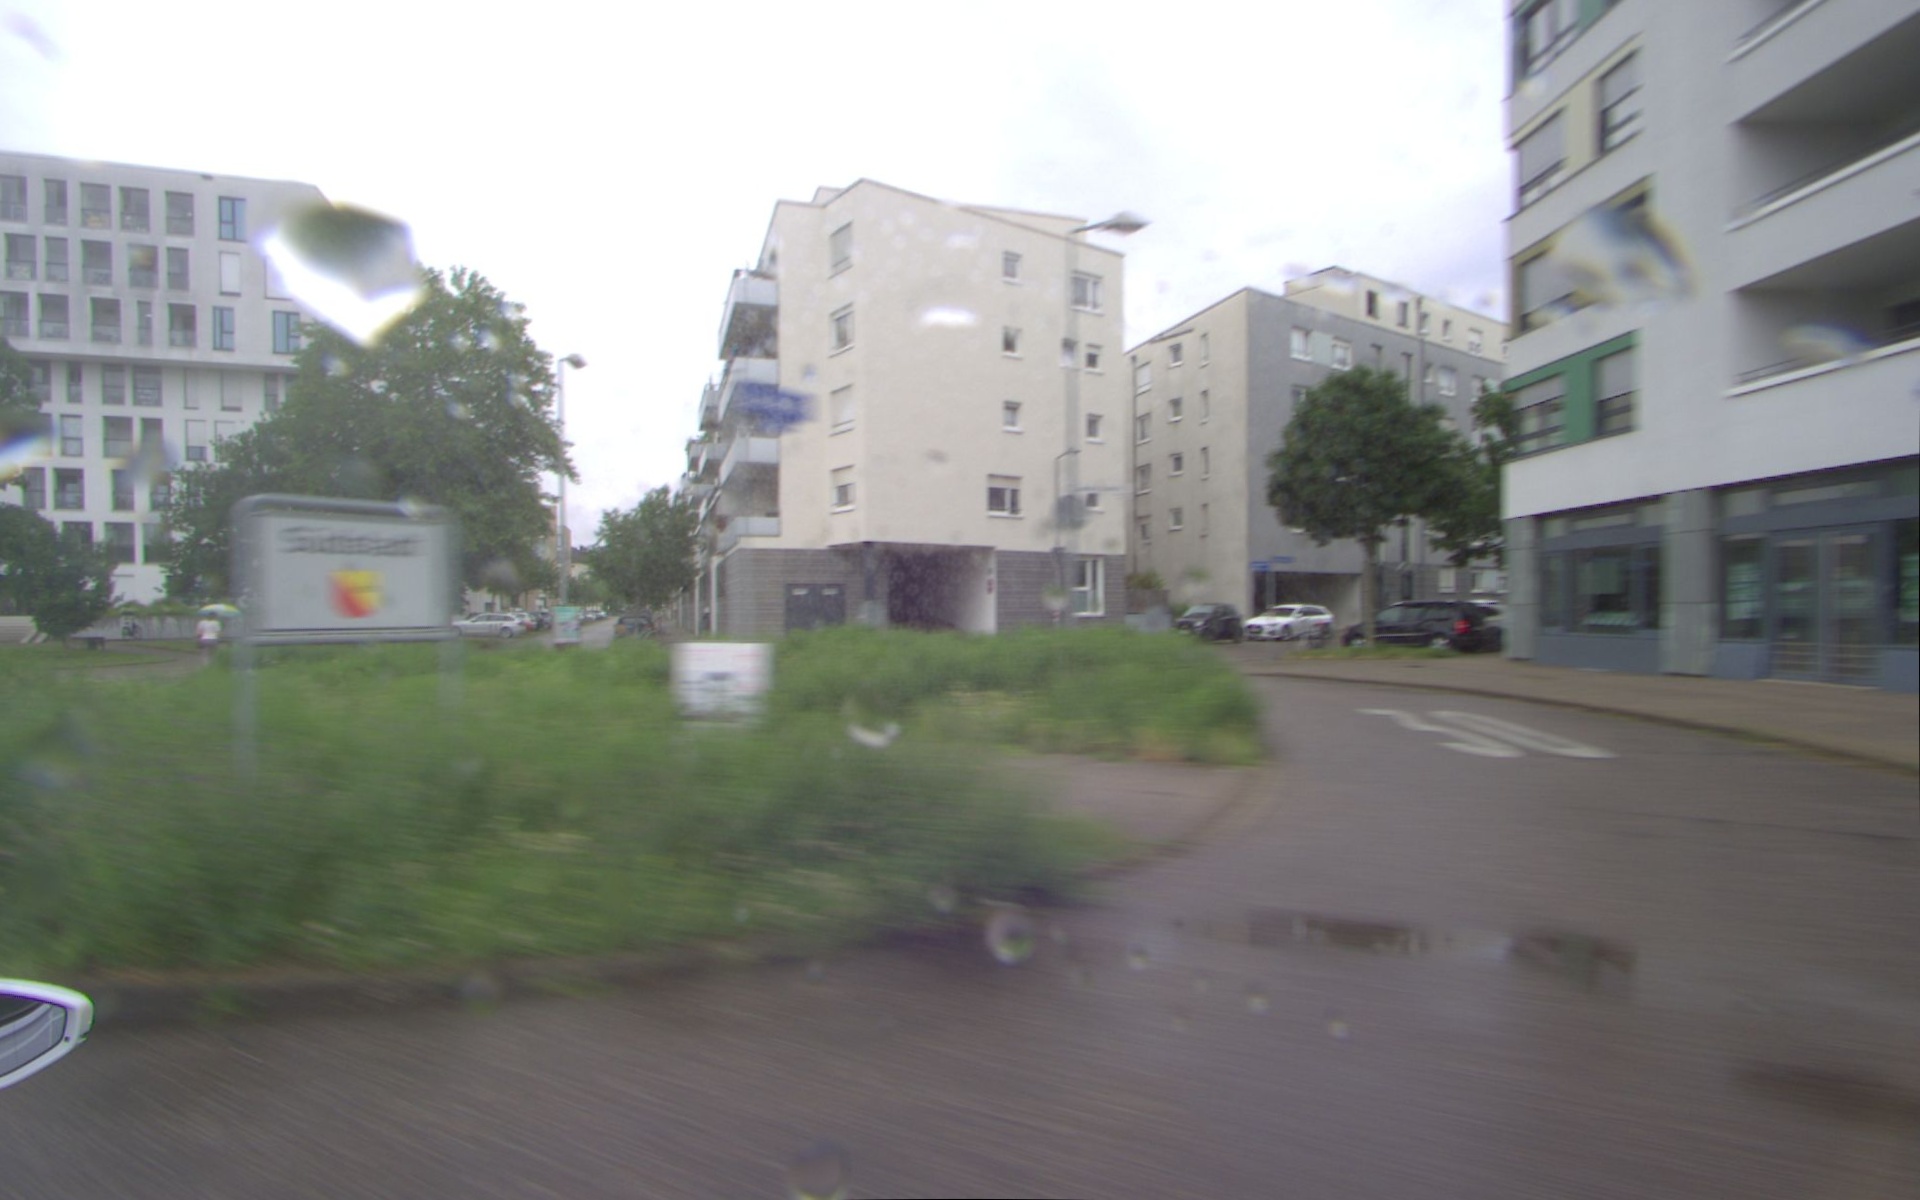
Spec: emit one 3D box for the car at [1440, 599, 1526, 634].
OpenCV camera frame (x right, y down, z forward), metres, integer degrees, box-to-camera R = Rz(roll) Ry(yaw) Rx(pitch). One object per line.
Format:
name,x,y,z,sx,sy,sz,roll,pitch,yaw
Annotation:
car,26.972,0.838,51.620,4.361,1.707,1.988,0,0,-32

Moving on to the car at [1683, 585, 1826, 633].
car,31.001,0.367,39.179,1.791,1.777,4.075,0,0,-35

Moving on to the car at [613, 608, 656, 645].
car,-14.459,1.134,44.397,1.705,1.568,4.111,0,0,-19

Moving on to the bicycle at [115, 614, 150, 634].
bicycle,-43.744,1.269,52.973,0.712,1.046,2.069,0,0,-18

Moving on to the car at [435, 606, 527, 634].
car,-28.905,1.229,60.572,4.752,1.526,1.621,2,-1,-18

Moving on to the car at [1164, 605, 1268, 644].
car,9.958,0.935,38.940,3.778,1.434,1.986,0,0,-35

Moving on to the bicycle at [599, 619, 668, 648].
bicycle,-12.411,1.263,38.132,2.441,1.102,0.724,0,0,-17

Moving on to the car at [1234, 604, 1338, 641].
car,13.520,0.918,41.465,4.411,1.451,1.985,0,0,-37

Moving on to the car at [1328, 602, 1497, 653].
car,13.802,0.805,30.788,1.791,1.452,4.493,0,-1,-35

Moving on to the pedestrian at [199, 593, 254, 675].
pedestrian,-18.674,0.841,25.510,0.613,2.040,0.963,1,1,32
